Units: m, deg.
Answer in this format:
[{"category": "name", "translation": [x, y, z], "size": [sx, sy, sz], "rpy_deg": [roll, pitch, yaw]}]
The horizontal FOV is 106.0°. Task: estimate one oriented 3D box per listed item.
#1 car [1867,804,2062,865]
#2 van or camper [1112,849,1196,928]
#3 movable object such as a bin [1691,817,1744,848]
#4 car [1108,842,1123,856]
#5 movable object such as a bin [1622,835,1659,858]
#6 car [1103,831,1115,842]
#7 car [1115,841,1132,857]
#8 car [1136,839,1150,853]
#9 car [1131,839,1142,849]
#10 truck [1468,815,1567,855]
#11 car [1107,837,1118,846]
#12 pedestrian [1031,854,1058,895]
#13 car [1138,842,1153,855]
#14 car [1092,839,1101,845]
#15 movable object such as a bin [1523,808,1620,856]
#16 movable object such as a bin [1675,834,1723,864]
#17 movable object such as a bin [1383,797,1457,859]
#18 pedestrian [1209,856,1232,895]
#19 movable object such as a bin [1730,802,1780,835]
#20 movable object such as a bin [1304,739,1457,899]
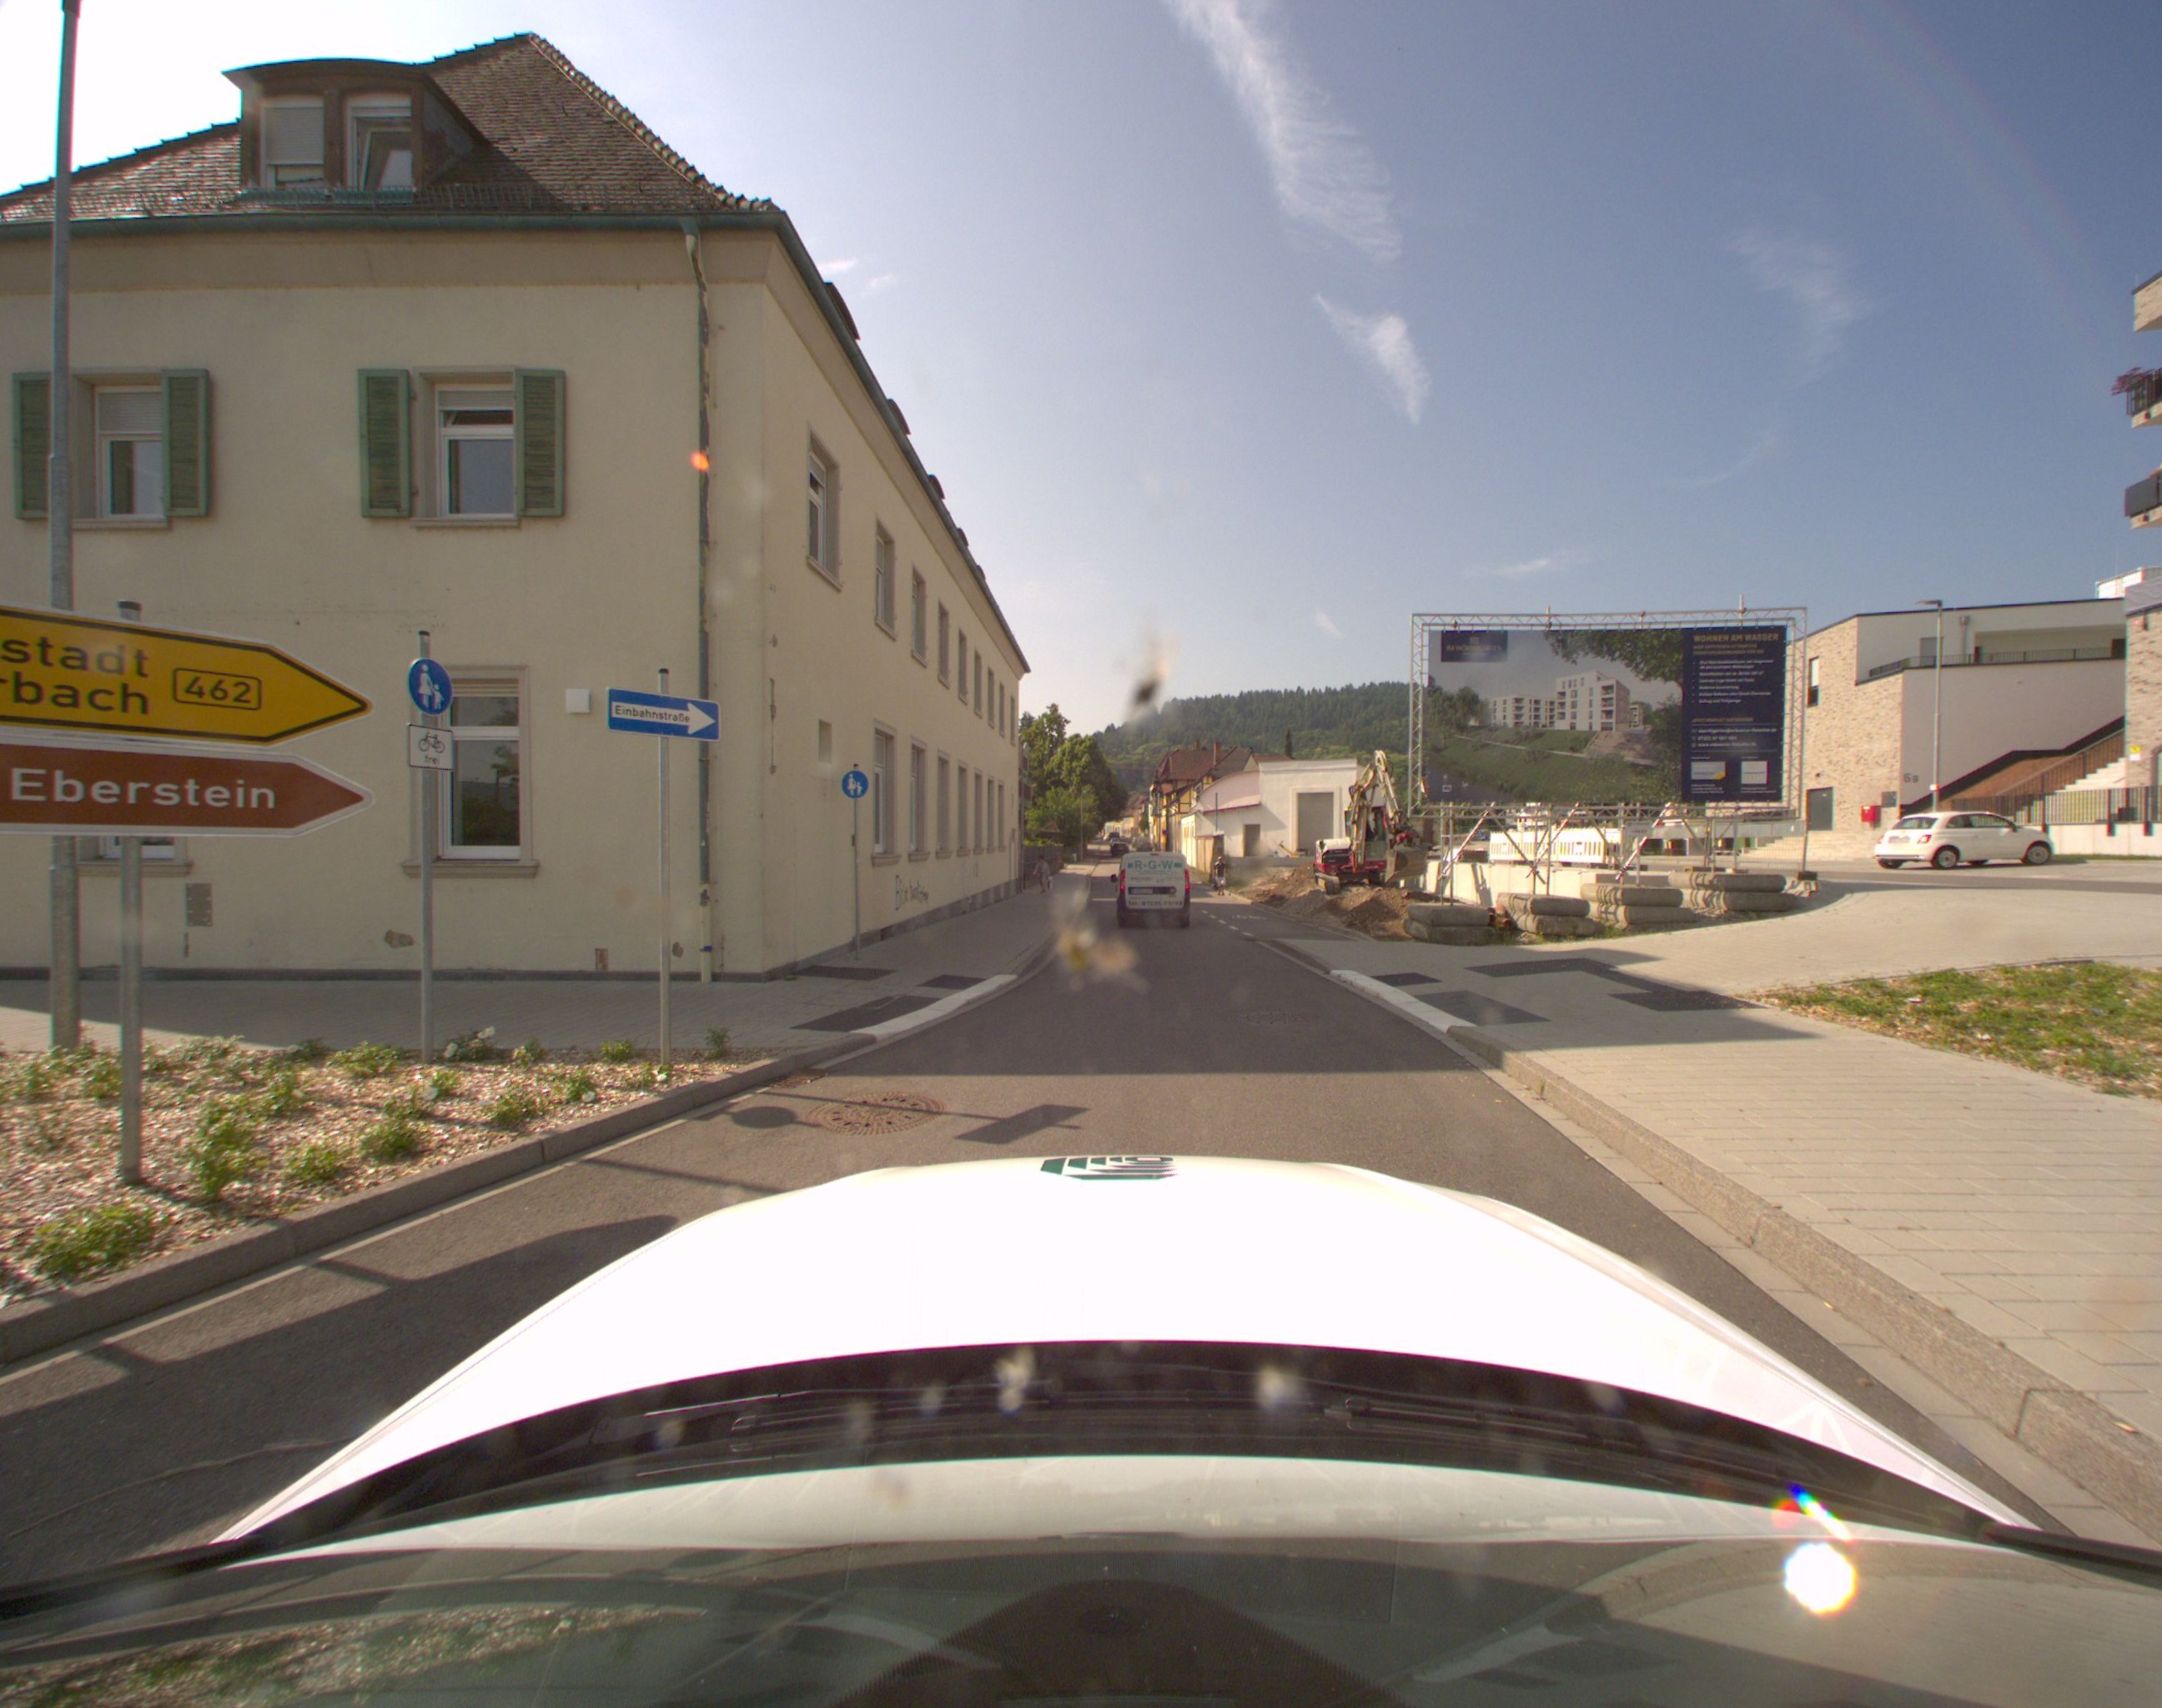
[{"category": "car", "translation": [23.426, -0.483, 21.683], "size": [3.392, 1.495, 1.595], "rpy_deg": [-1, -1, 1]}, {"category": "van or camper", "translation": [1.810, 0.845, 21.469], "size": [1.822, 1.844, 4.187], "rpy_deg": [-1, -1, 0]}, {"category": "movable object such as a bin", "translation": [32.408, -1.095, 41.481], "size": [1.682, 1.463, 1.325], "rpy_deg": [3, 2, 12]}, {"category": "car", "translation": [4.499, -0.696, 106.455], "size": [1.805, 1.596, 3.927], "rpy_deg": [2, 2, 0]}, {"category": "movable object such as a bin", "translation": [31.807, -0.435, 46.358], "size": [1.287, 1.267, 1.325], "rpy_deg": [3, 2, 12]}, {"category": "car", "translation": [7.302, -4.512, 214.952], "size": [2.865, 2.835, 6.124], "rpy_deg": [-1, 1, 0]}, {"category": "car", "translation": [4.660, -0.559, 89.827], "size": [1.804, 1.596, 3.929], "rpy_deg": [2, 2, 2]}, {"category": "car", "translation": [8.961, -1.194, 117.851], "size": [1.864, 2.013, 4.002], "rpy_deg": [1, 1, 2]}, {"category": "car", "translation": [9.144, -1.653, 134.621], "size": [1.664, 1.508, 4.000], "rpy_deg": [-1, 1, 0]}, {"category": "truck", "translation": [27.065, -1.133, 50.655], "size": [5.264, 2.265, 2.232], "rpy_deg": [-1, 0, 28]}, {"category": "car", "translation": [5.689, -2.296, 147.689], "size": [1.803, 1.596, 3.930], "rpy_deg": [2, 2, 2]}, {"category": "pedestrian", "translation": [-1.548, 0.840, 34.383], "size": [0.954, 1.631, 0.758], "rpy_deg": [5, 0, 2]}, {"category": "car", "translation": [8.511, -0.782, 107.681], "size": [1.803, 1.596, 3.930], "rpy_deg": [2, 2, 2]}, {"category": "car", "translation": [4.376, -3.373, 228.106], "size": [1.771, 1.798, 3.988], "rpy_deg": [0, 1, -9]}, {"category": "movable object such as a bin", "translation": [27.742, -1.205, 46.251], "size": [4.569, 2.569, 1.937], "rpy_deg": [-1, 0, 28]}, {"category": "movable object such as a bin", "translation": [32.568, -0.288, 42.942], "size": [1.569, 1.463, 1.325], "rpy_deg": [3, 2, 12]}, {"category": "movable object such as a bin", "translation": [21.447, -1.614, 51.355], "size": [2.823, 3.621, 5.772], "rpy_deg": [3, 2, 37]}, {"category": "pedestrian", "translation": [6.178, 0.943, 36.015], "size": [0.885, 1.683, 0.719], "rpy_deg": [2, 0, 2]}, {"category": "movable object such as a bin", "translation": [31.529, -1.641, 38.137], "size": [1.290, 1.463, 1.325], "rpy_deg": [3, 2, 12]}, {"category": "movable object such as a bin", "translation": [8.440, -0.905, 23.952], "size": [2.283, 3.853, 7.812], "rpy_deg": [2, 1, 6]}]
